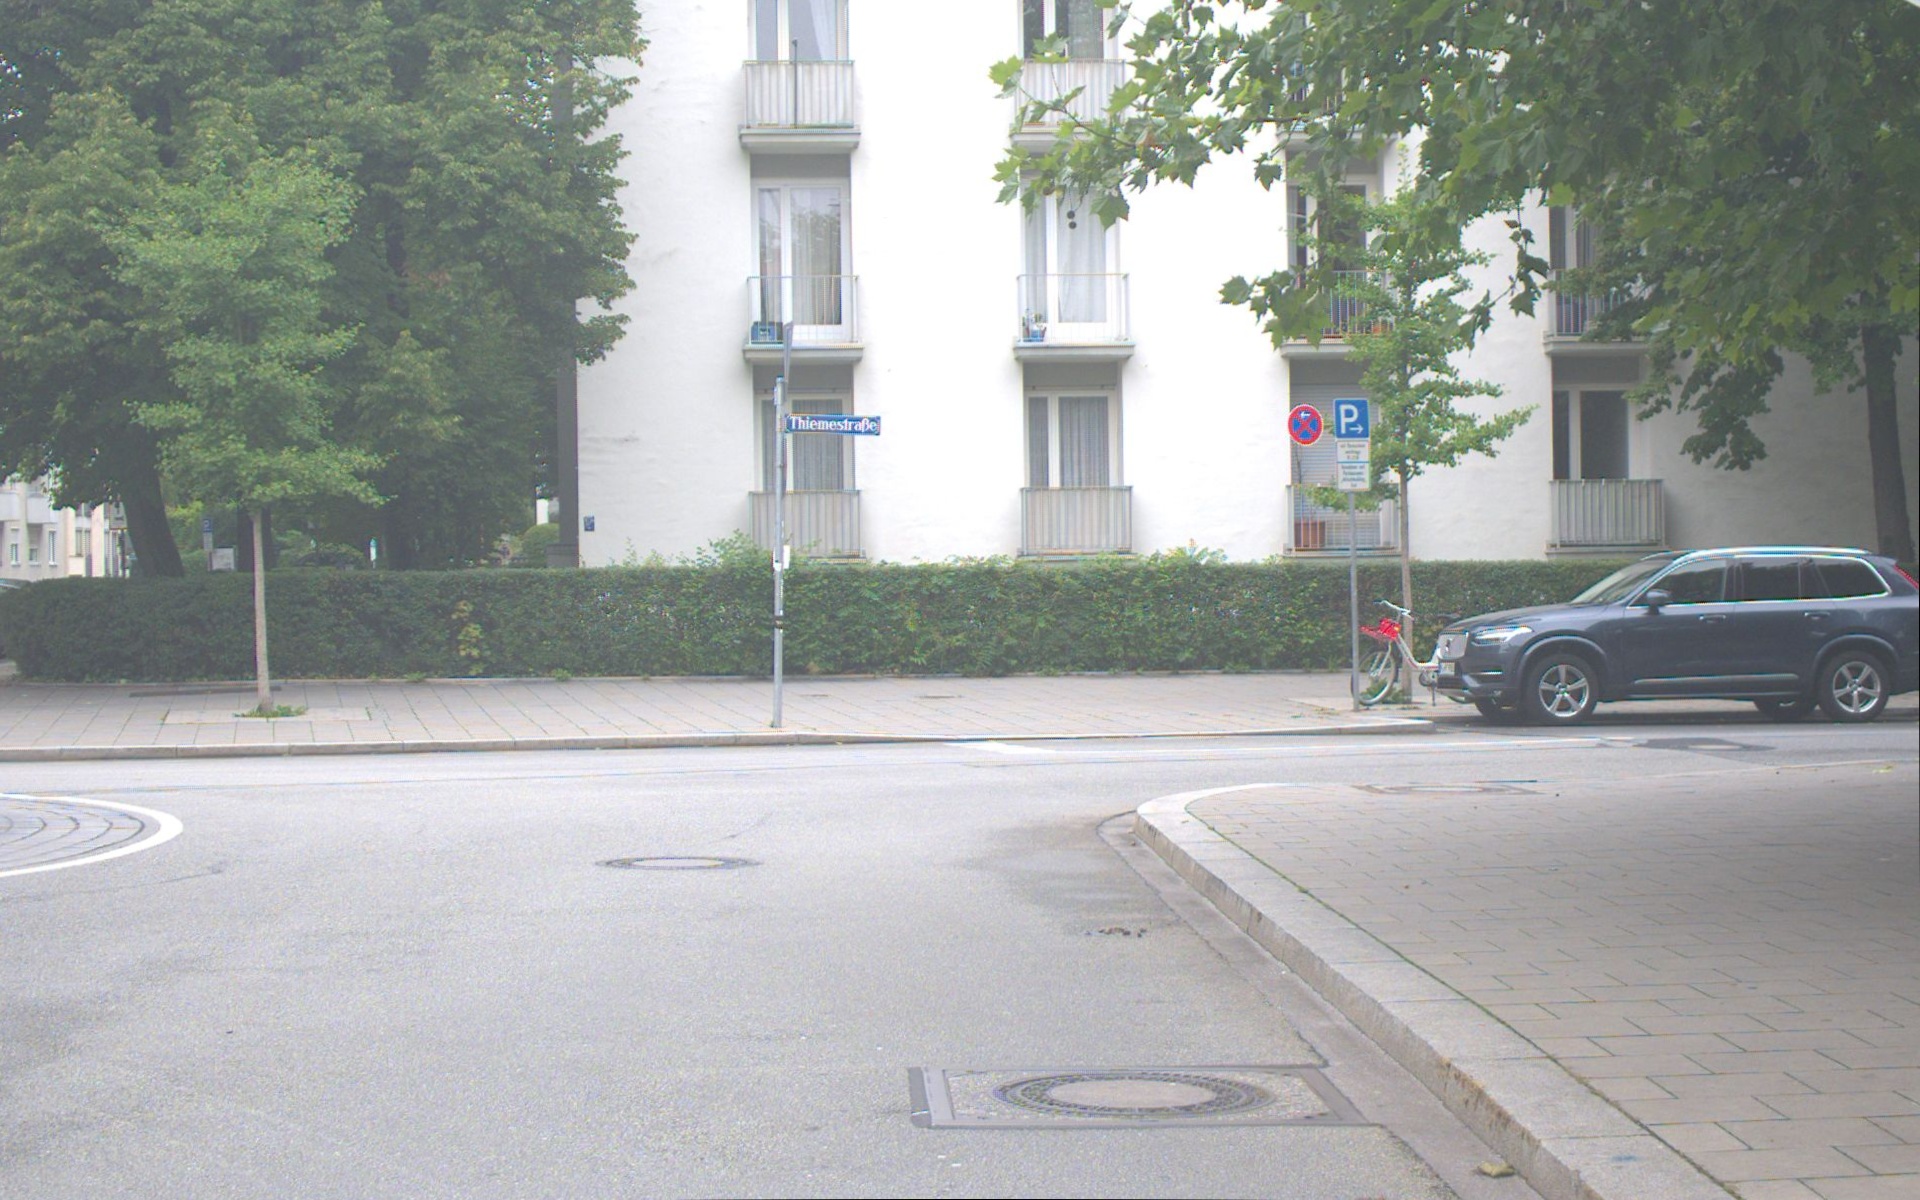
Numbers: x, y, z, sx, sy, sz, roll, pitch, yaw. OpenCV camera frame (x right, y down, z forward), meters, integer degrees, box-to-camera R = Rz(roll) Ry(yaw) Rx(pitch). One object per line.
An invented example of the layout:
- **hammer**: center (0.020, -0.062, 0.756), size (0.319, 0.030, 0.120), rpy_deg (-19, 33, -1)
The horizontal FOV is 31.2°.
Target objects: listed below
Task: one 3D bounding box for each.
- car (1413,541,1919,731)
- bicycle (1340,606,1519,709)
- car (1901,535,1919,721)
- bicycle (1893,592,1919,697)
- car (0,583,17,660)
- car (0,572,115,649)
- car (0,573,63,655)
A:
- **car**: center (7.178, 0.347, 34.235), size (4.895, 1.786, 2.000), rpy_deg (0, -1, -9)
- **bicycle**: center (4.980, 0.602, 36.485), size (1.824, 1.045, 0.492), rpy_deg (-1, 1, -15)
- **car**: center (12.314, 0.265, 35.205), size (4.831, 1.912, 1.836), rpy_deg (0, -1, -10)
- **bicycle**: center (10.989, 0.486, 37.202), size (0.536, 1.145, 1.830), rpy_deg (-1, 1, -32)
- **car**: center (-19.593, 0.449, 66.918), size (1.835, 1.500, 4.116), rpy_deg (-2, 1, -8)
- **car**: center (-20.313, 0.219, 77.174), size (1.835, 1.629, 3.820), rpy_deg (-2, 1, -2)
- **car**: center (-20.003, 0.281, 71.513), size (1.835, 1.629, 4.116), rpy_deg (-2, 1, -4)
